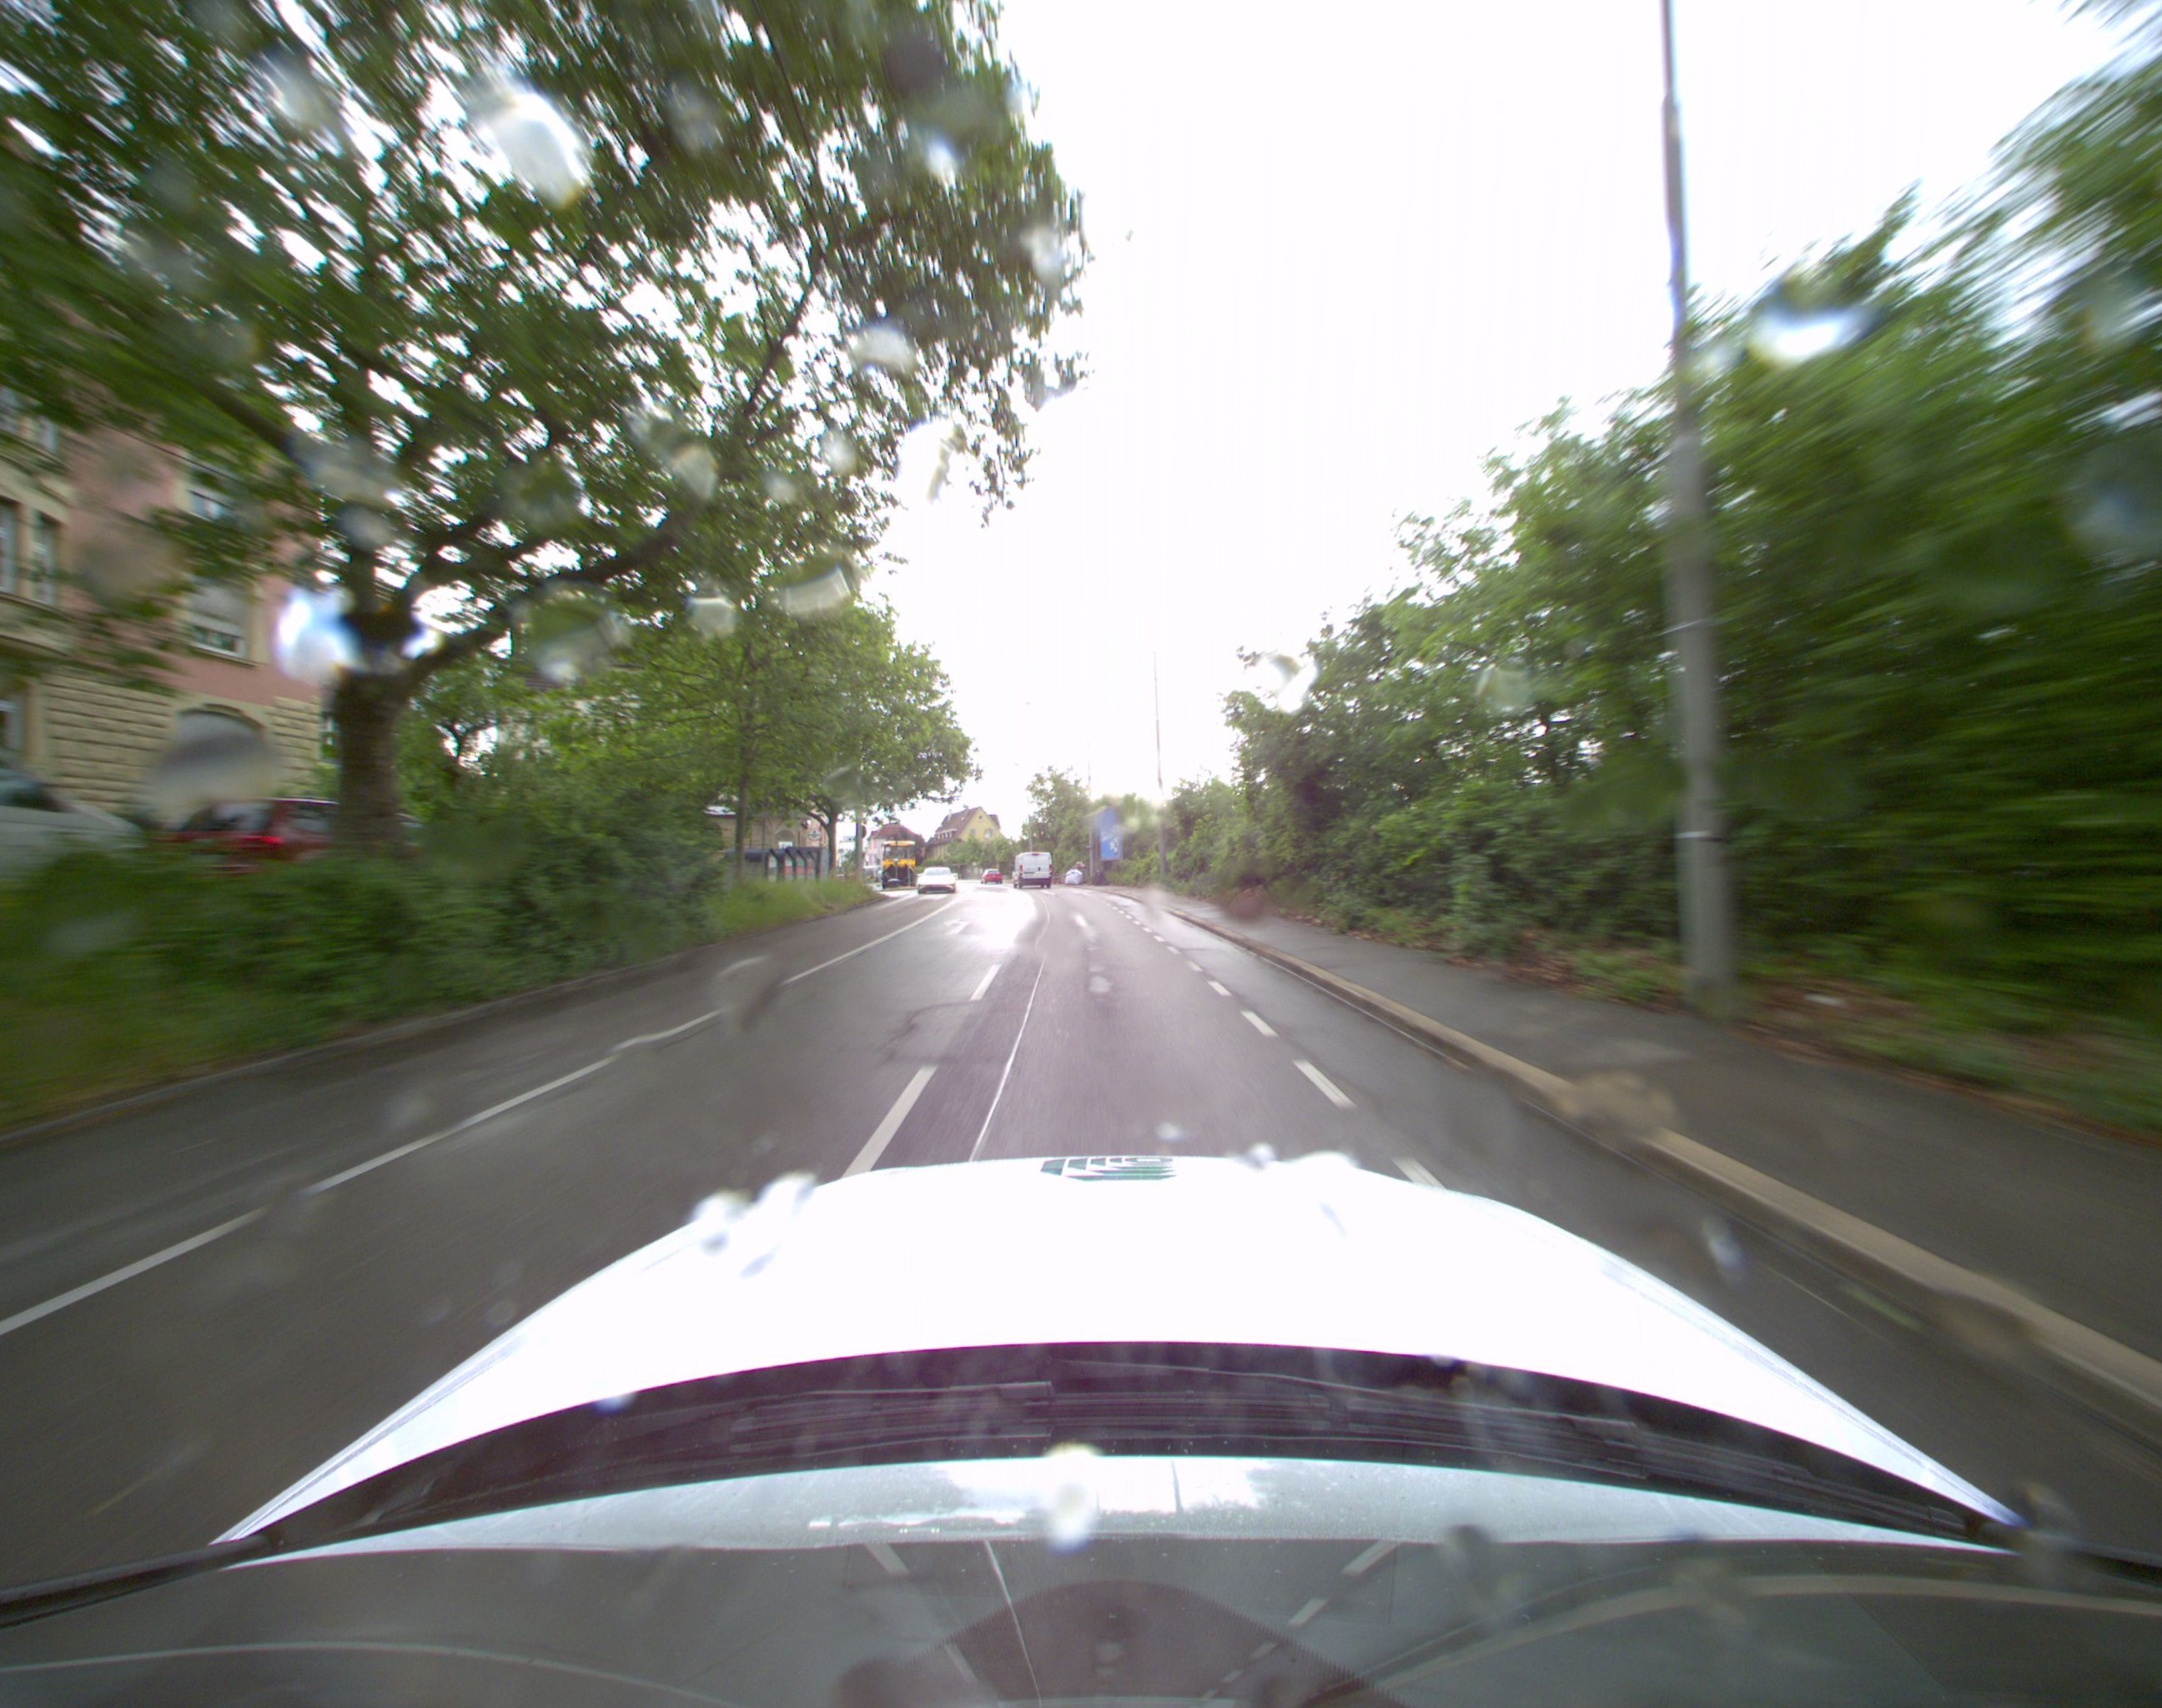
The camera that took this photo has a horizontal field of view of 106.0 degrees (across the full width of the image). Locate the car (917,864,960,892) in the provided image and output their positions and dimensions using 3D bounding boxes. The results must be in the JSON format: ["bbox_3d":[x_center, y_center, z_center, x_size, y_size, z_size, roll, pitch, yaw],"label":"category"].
[{"bbox_3d":[-7.750,1.278,44.609,2.069,1.353,4.701,0,0,-7],"label":"car"}]

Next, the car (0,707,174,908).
[{"bbox_3d":[-11.885,-0.458,7.405,1.986,2.013,4.630,0,0,2],"label":"car"}]

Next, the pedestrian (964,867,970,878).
[{"bbox_3d":[-17.035,2.759,121.955,0.906,1.731,0.651,0,0,-12],"label":"pedestrian"}]

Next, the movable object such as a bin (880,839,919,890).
[{"bbox_3d":[-14.546,0.792,65.653,2.774,3.855,5.968,0,0,-10],"label":"movable object such as a bin"}]

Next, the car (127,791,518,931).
[{"bbox_3d":[-11.662,0.078,13.109,1.823,1.843,4.630,0,0,2],"label":"car"}]

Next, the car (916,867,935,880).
[{"bbox_3d":[-23.396,2.943,122.631,2.244,1.804,4.684,0,0,-18],"label":"car"}]

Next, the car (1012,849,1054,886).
[{"bbox_3d":[-3.156,0.814,52.387,2.237,2.213,4.698,0,0,-9],"label":"car"}]

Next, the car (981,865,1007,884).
[{"bbox_3d":[-8.688,2.009,80.922,2.237,1.656,4.698,0,0,-10],"label":"car"}]
